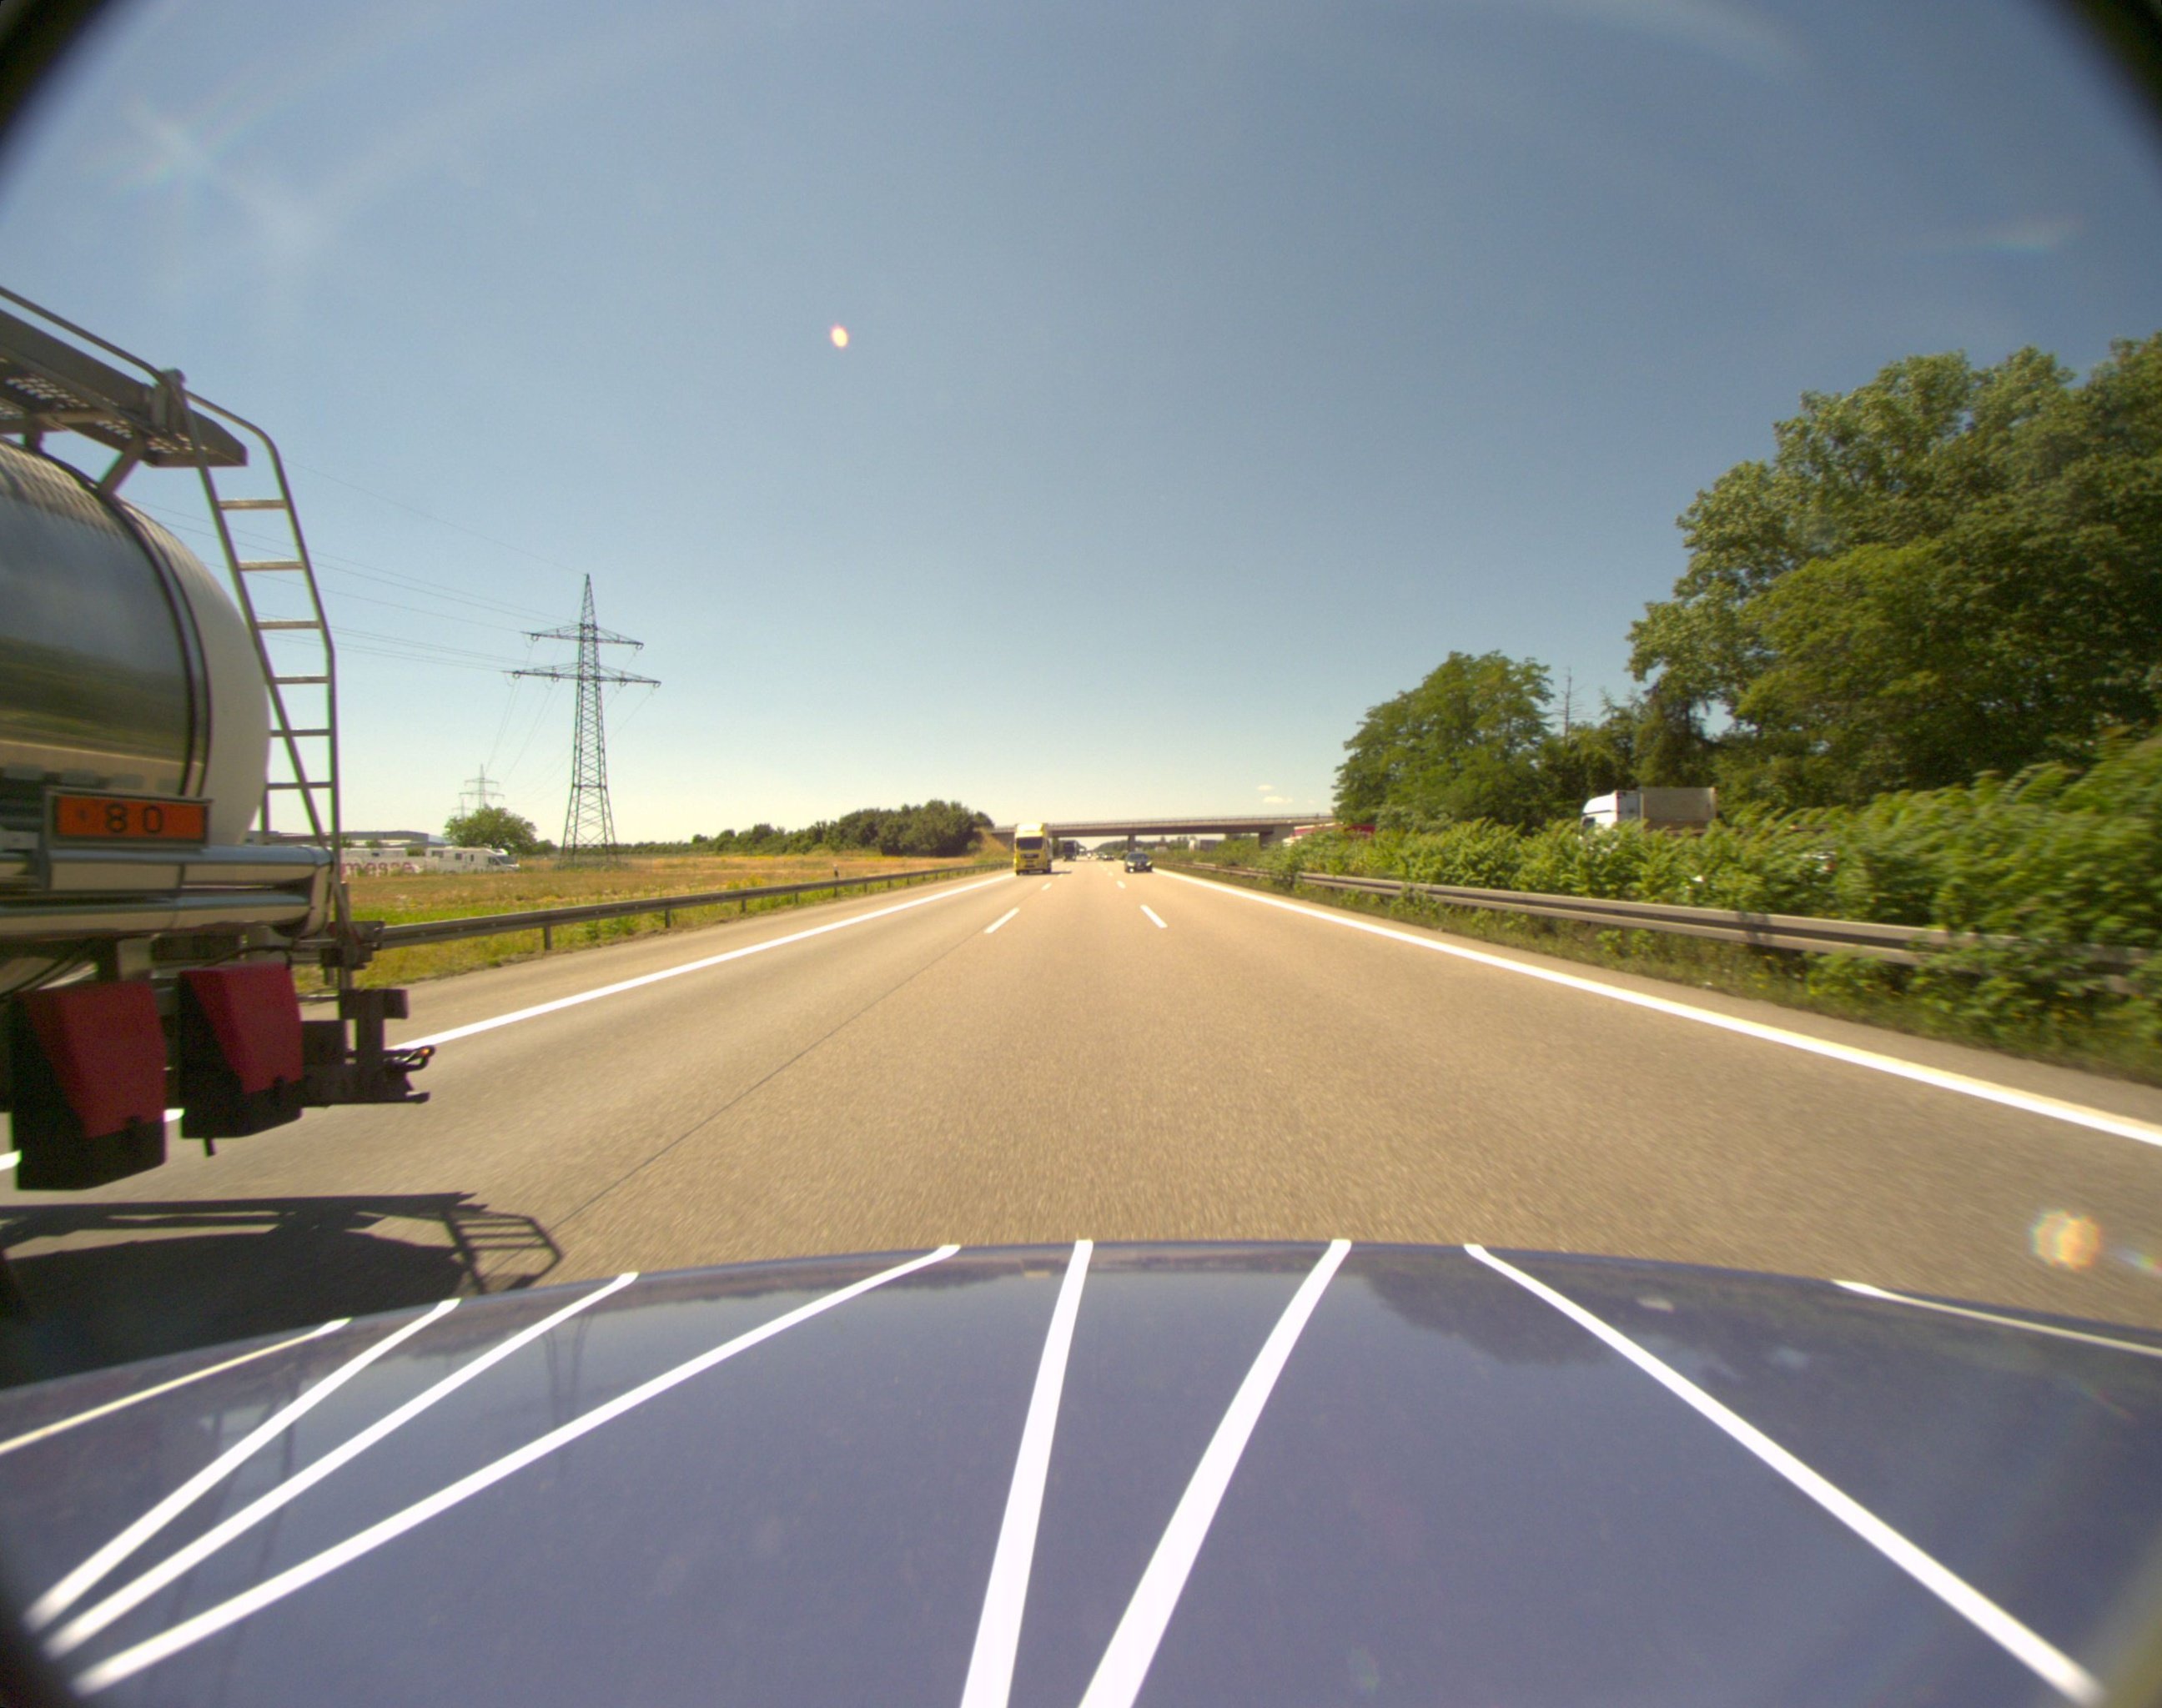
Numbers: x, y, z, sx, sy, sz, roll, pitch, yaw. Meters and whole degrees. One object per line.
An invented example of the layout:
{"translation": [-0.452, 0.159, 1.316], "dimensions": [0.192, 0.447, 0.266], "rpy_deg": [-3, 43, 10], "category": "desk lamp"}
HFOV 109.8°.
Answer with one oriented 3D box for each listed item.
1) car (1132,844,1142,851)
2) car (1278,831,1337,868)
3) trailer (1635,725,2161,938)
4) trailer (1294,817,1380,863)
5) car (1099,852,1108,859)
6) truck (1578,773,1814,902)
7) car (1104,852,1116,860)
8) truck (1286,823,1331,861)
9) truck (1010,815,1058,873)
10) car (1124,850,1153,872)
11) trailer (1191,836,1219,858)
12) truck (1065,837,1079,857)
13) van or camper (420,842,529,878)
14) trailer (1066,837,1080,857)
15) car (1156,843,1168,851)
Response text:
{"translation": [15.583, -1.867, 212.432], "dimensions": [2.097, 1.770, 5.460], "rpy_deg": [-2, 0, -2], "category": "car"}
{"translation": [16.600, -0.265, 56.203], "dimensions": [2.308, 2.387, 6.520], "rpy_deg": [-2, -2, 0], "category": "car"}
{"translation": [20.191, -0.469, 19.278], "dimensions": [2.597, 3.684, 13.689], "rpy_deg": [-2, 0, 2], "category": "trailer"}
{"translation": [21.491, -1.061, 65.080], "dimensions": [2.593, 3.397, 14.155], "rpy_deg": [-2, 0, 1], "category": "trailer"}
{"translation": [5.090, 0.315, 172.993], "dimensions": [1.811, 1.417, 4.000], "rpy_deg": [-2, 0, 1], "category": "car"}
{"translation": [20.415, -0.498, 25.878], "dimensions": [2.597, 3.684, 6.828], "rpy_deg": [-2, 0, 2], "category": "truck"}
{"translation": [5.112, 0.356, 134.263], "dimensions": [1.811, 1.417, 4.000], "rpy_deg": [-2, 0, 1], "category": "car"}
{"translation": [21.512, -1.081, 72.054], "dimensions": [2.604, 3.402, 5.116], "rpy_deg": [-2, 0, 0], "category": "truck"}
{"translation": [-3.641, -0.770, 61.644], "dimensions": [2.941, 4.175, 10.681], "rpy_deg": [-2, 0, 0], "category": "truck"}
{"translation": [4.187, 0.500, 55.488], "dimensions": [1.811, 1.459, 4.000], "rpy_deg": [-2, 0, 1], "category": "car"}
{"translation": [22.620, -1.235, 139.373], "dimensions": [2.833, 3.688, 13.928], "rpy_deg": [-2, 0, 1], "category": "trailer"}
{"translation": [-1.780, -1.413, 156.873], "dimensions": [2.476, 4.038, 6.320], "rpy_deg": [-2, 0, 1], "category": "truck"}
{"translation": [-55.230, 0.527, 69.298], "dimensions": [7.758, 3.083, 2.434], "rpy_deg": [-1, 1, -1], "category": "van or camper"}
{"translation": [-1.699, -1.435, 163.207], "dimensions": [2.476, 4.038, 13.880], "rpy_deg": [-2, 0, 1], "category": "trailer"}
{"translation": [18.792, -1.681, 176.402], "dimensions": [2.308, 1.770, 5.423], "rpy_deg": [-2, 0, 0], "category": "car"}
